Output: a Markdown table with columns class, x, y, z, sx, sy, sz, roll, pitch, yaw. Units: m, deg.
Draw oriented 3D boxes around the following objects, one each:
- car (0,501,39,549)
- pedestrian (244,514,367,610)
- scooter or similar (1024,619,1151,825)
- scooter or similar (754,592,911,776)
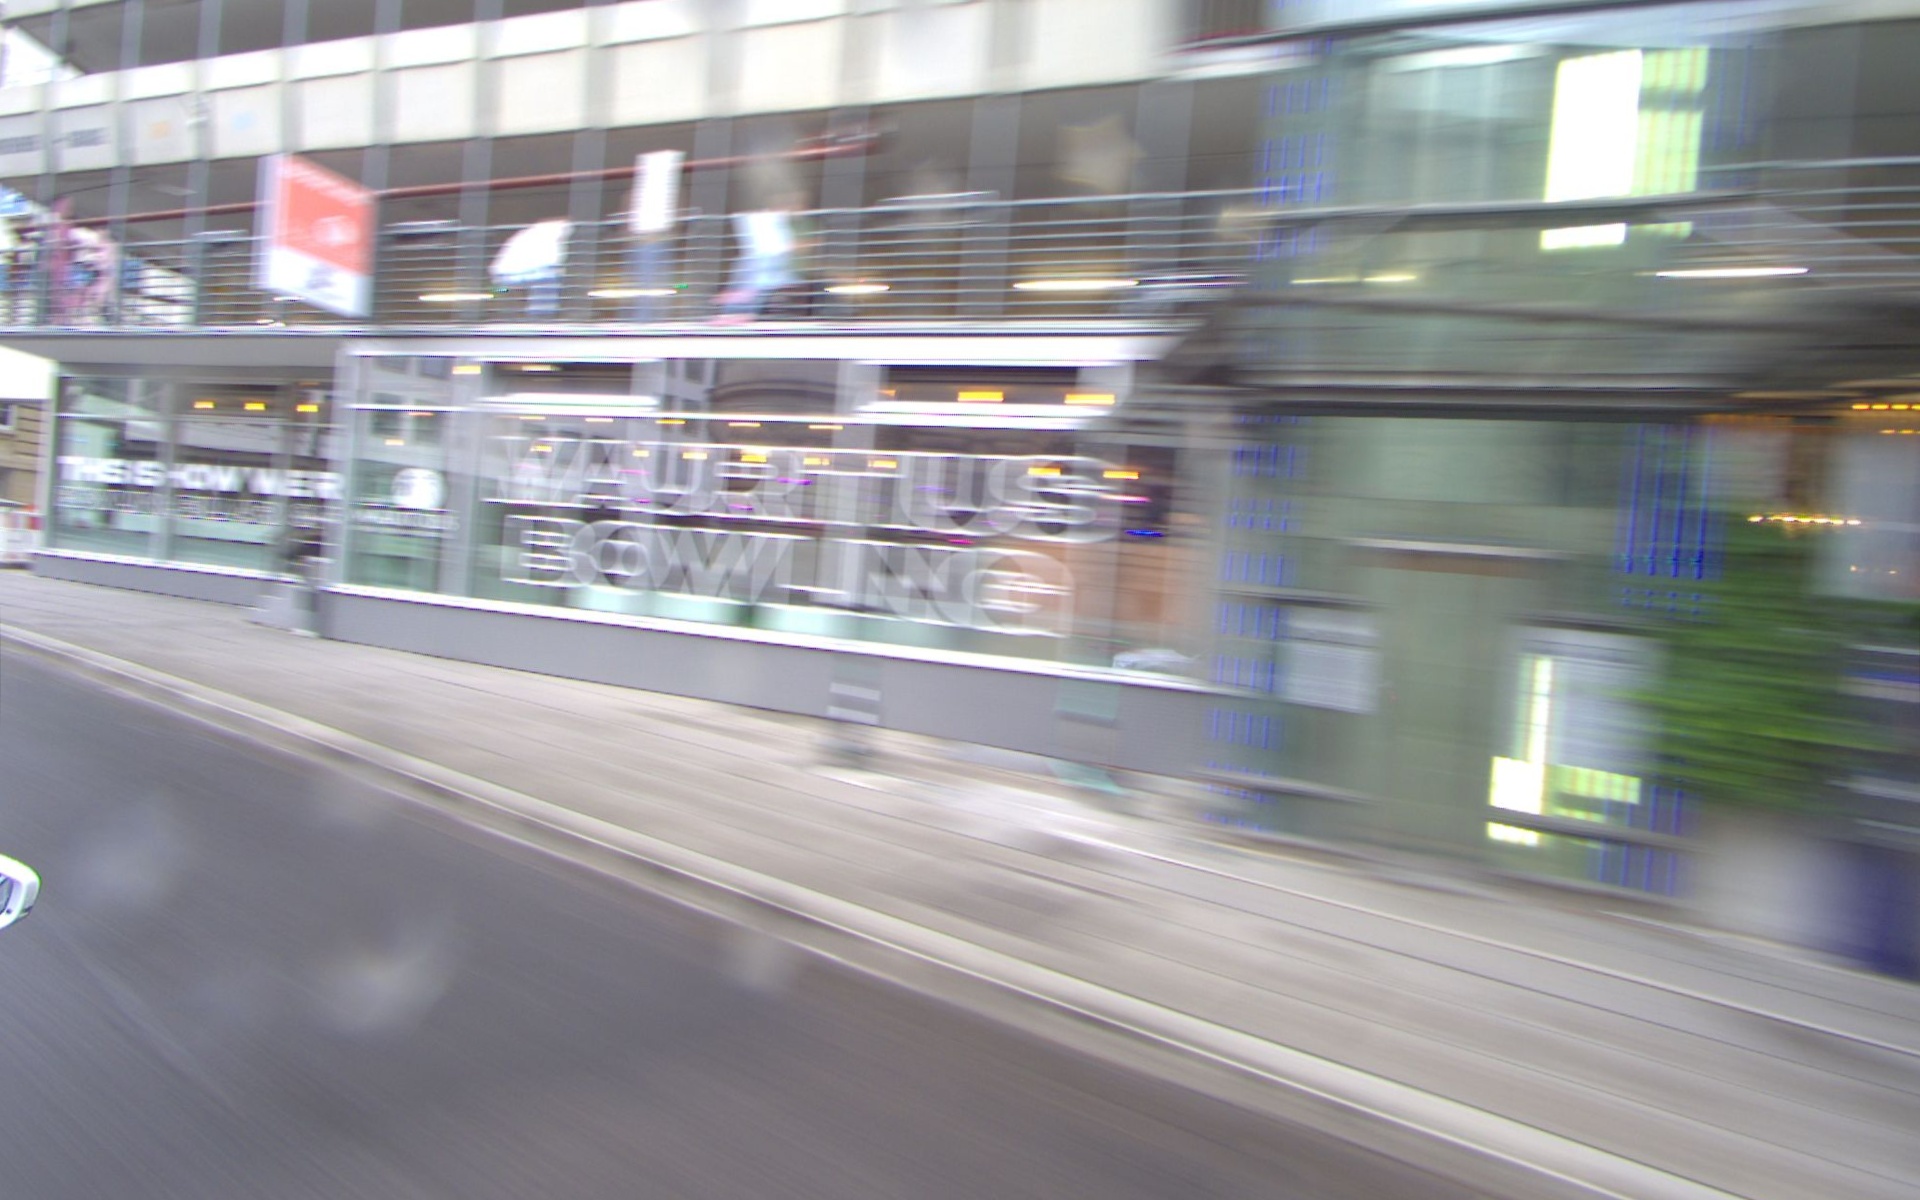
| class | x | y | z | sx | sy | sz | roll | pitch | yaw |
| --- | --- | --- | --- | --- | --- | --- | --- | --- | --- |
| car | -33.303 | -2.711 | 33.976 | 4.253 | 1.473 | 1.738 | 7 | 0 | 26 |
| pedestrian | -9.013 | -0.516 | 13.869 | 1.224 | 1.137 | 0.755 | 7 | 0 | 20 |
| scooter or similar | 0.996 | 0.848 | 7.677 | 0.729 | 1.284 | 1.640 | 6 | 2 | 9 |
| scooter or similar | -0.990 | 0.617 | 8.260 | 0.729 | 1.284 | 1.640 | 6 | 2 | 9 |
